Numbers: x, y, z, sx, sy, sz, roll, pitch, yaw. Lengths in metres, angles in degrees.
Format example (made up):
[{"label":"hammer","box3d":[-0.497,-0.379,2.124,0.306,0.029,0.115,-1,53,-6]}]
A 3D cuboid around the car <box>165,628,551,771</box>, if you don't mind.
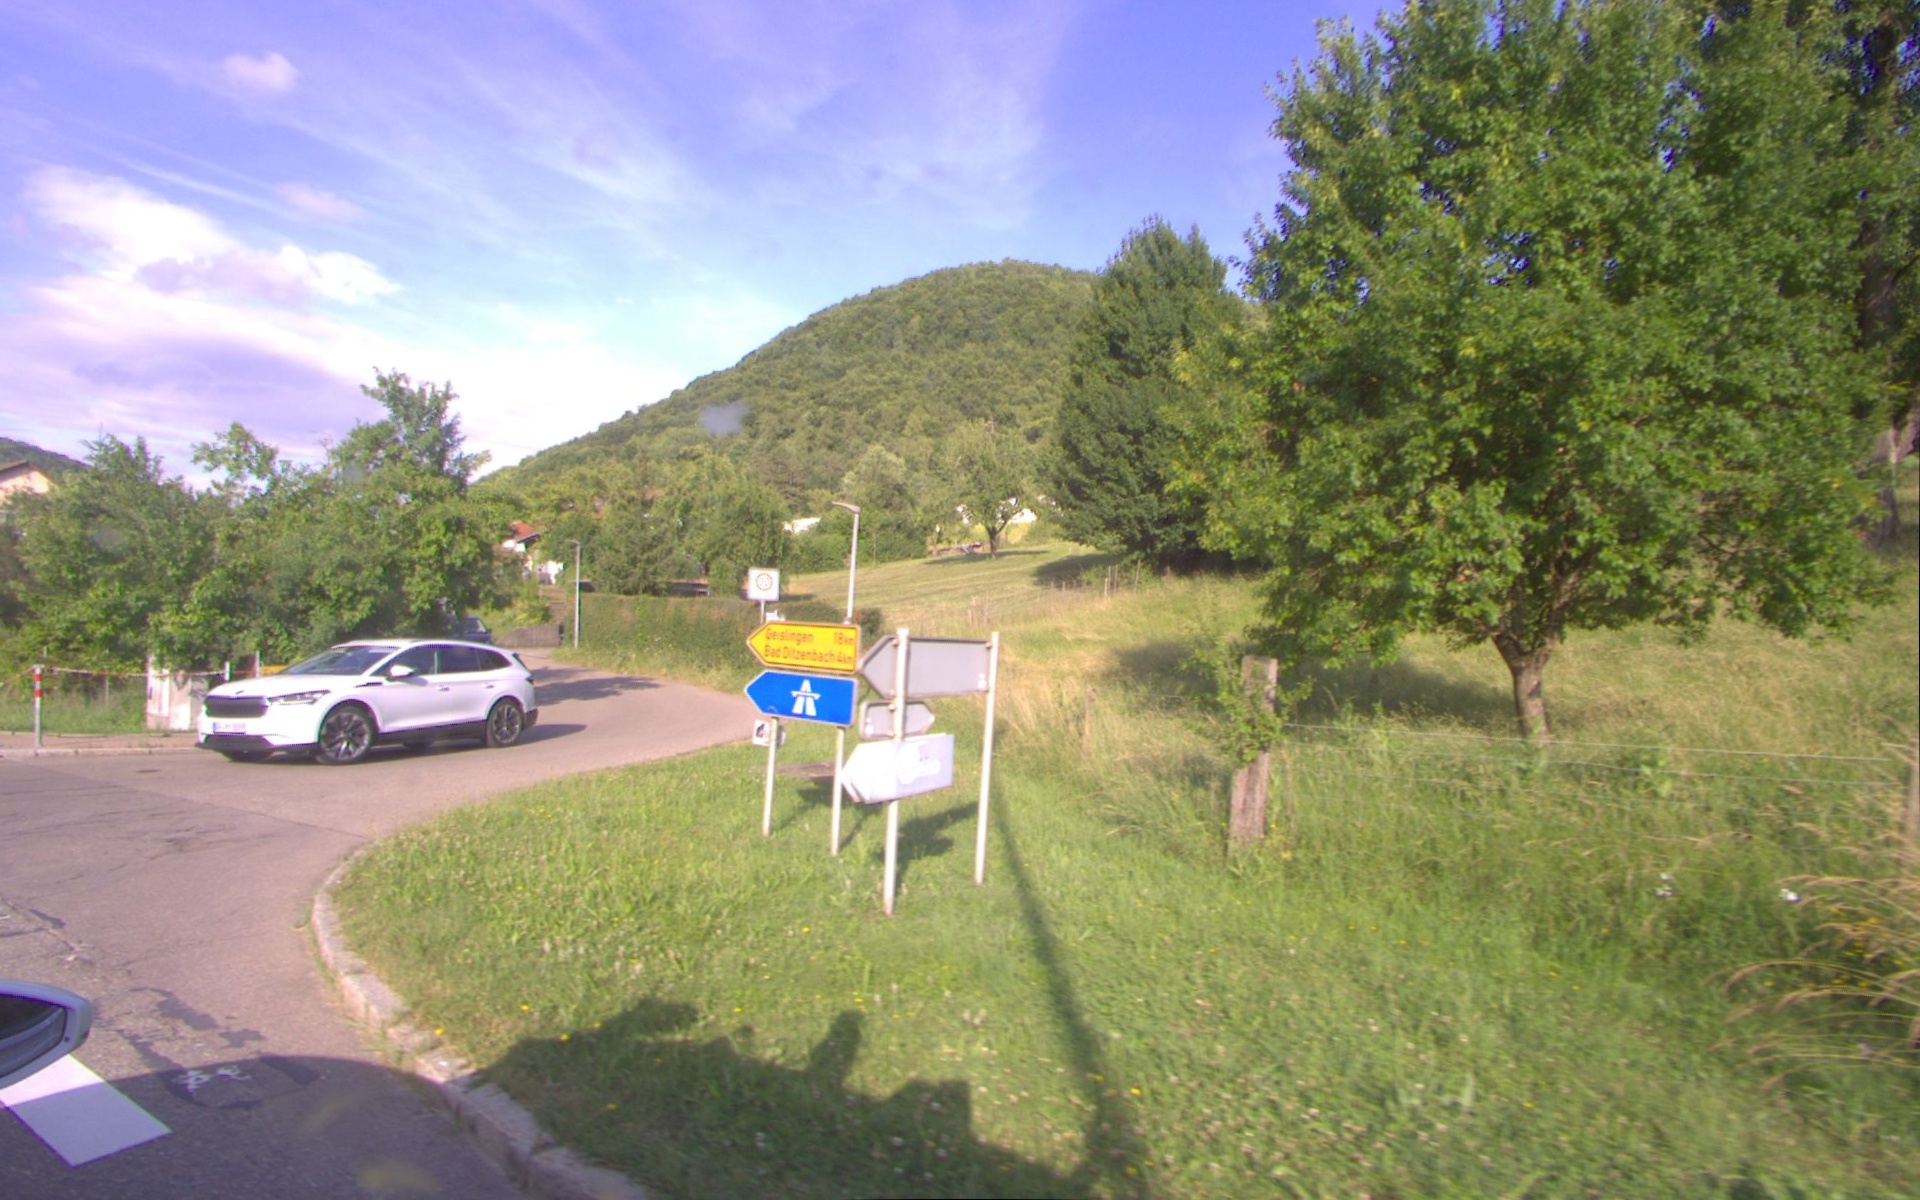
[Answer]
[{"label":"car","box3d":[-8.016,1.290,13.963,1.839,1.630,4.570,0,-3,16]}]
